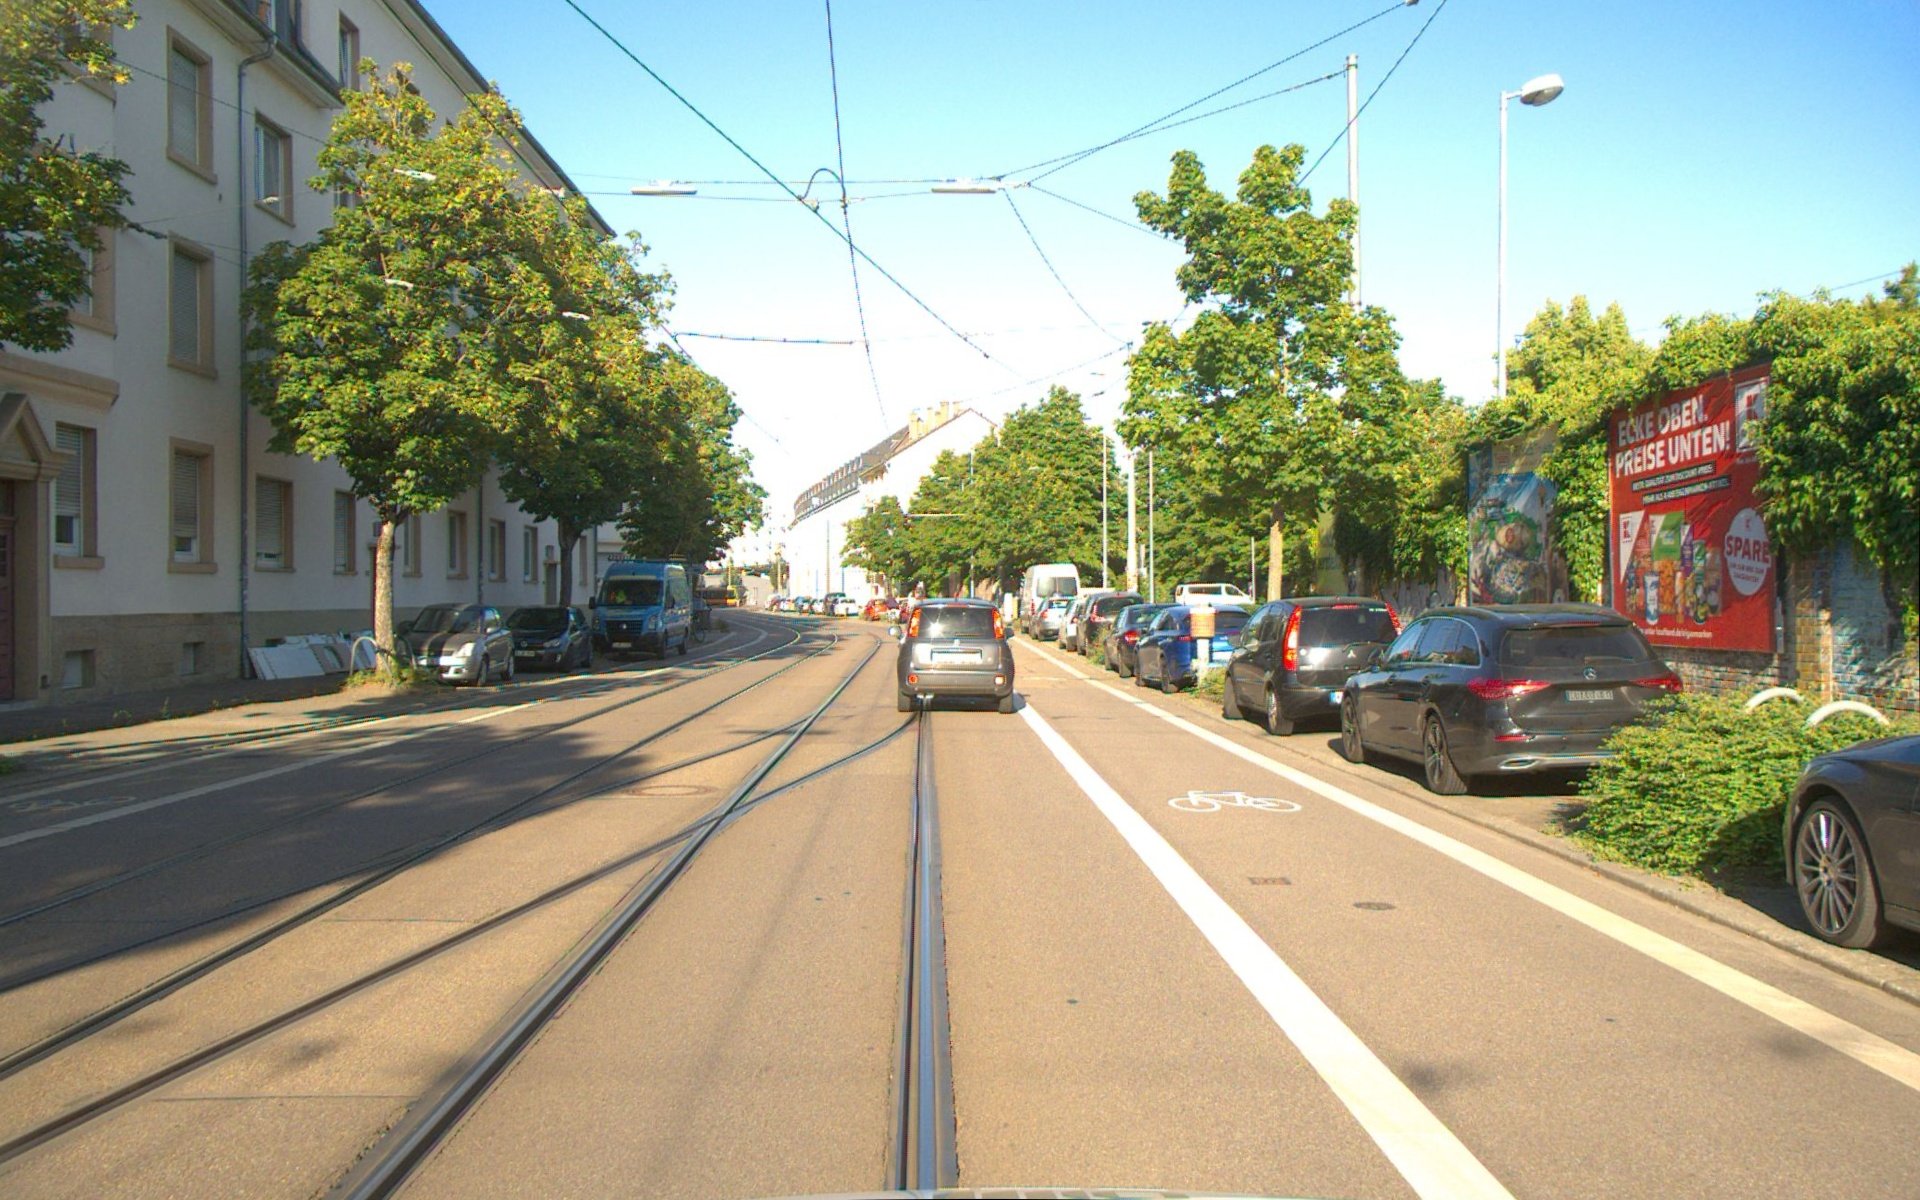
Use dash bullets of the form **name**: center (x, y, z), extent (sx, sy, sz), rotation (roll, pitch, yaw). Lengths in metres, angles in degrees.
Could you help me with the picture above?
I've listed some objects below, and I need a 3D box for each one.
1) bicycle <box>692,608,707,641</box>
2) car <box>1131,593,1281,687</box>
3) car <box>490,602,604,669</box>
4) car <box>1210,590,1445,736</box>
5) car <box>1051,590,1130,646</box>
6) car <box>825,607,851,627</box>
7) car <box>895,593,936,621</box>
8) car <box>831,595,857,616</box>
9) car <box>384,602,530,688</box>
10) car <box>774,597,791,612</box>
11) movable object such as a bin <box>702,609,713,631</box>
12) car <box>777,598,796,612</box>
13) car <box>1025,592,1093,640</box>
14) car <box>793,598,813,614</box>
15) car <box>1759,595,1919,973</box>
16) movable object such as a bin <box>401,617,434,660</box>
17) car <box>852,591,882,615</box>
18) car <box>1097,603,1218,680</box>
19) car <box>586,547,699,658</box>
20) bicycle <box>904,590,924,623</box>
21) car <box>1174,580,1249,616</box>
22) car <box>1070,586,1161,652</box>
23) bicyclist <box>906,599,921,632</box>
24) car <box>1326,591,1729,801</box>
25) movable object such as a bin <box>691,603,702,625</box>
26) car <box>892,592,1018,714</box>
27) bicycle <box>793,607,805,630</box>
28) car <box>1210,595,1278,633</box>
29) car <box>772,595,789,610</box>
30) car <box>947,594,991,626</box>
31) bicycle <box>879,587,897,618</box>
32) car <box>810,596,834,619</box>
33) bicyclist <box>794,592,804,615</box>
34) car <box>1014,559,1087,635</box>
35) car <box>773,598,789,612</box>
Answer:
- **bicycle**: center (-9.297, 0.873, 59.102), extent (0.502, 1.154, 2.027), rotation (1, 0, -8)
- **car**: center (4.182, 0.646, 28.792), extent (1.694, 1.489, 4.337), rotation (1, 0, -4)
- **car**: center (-9.442, 0.785, 38.123), extent (1.618, 1.450, 4.189), rotation (1, 0, -1)
- **car**: center (4.332, 0.692, 20.107), extent (1.788, 1.519, 3.812), rotation (-2, 0, -3)
- **car**: center (3.742, 0.496, 48.096), extent (1.694, 1.539, 4.248), rotation (1, 0, -4)
- **car**: center (-10.081, 1.400, 136.660), extent (1.626, 1.599, 3.865), rotation (1, 0, -12)
- **car**: center (-2.682, 0.424, 99.659), extent (1.660, 1.556, 3.986), rotation (-2, 0, -14)
- **car**: center (-9.299, 0.451, 132.334), extent (1.626, 1.599, 3.489), rotation (1, 0, -12)
- **car**: center (-9.582, 0.817, 31.800), extent (1.618, 1.517, 3.999), rotation (1, 0, -1)
- **car**: center (-19.346, 0.478, 180.007), extent (1.555, 1.627, 3.366), rotation (1, 0, -12)
- **movable object such as a bin**: center (-11.446, 0.896, 74.964), extent (0.476, 1.005, 0.658), rotation (1, 0, -9)
- **car**: center (-18.297, 0.547, 174.284), extent (1.555, 1.430, 3.366), rotation (1, 0, -12)
- **car**: center (3.377, 0.544, 57.192), extent (1.872, 1.556, 4.598), rotation (-1, 0, -2)
- **car**: center (-15.378, 0.619, 162.020), extent (1.555, 1.429, 3.366), rotation (-4, 1, -12)
- **car**: center (4.736, 0.742, 5.638), extent (1.787, 1.510, 4.601), rotation (1, 0, 0)
- **movable object such as a bin**: center (-12.145, 0.862, 37.034), extent (0.584, 0.951, 0.568), rotation (-1, 0, -4)
- **car**: center (-6.417, 0.207, 114.226), extent (1.606, 1.534, 3.388), rotation (-3, 0, -11)
- **car**: center (4.058, 0.821, 34.628), extent (1.694, 1.489, 4.494), rotation (1, 0, -4)
- **car**: center (-8.756, 0.082, 46.137), extent (1.976, 2.875, 6.031), rotation (1, 0, 0)
- **bicycle**: center (-2.470, 0.348, 89.060), extent (0.663, 1.777, 2.151), rotation (1, 0, -12)
- **car**: center (15.437, -0.097, 101.560), extent (4.199, 2.049, 1.771), rotation (-2, 0, -7)
- **car**: center (4.023, 0.480, 43.318), extent (1.694, 1.632, 4.339), rotation (1, 0, -4)
- **bicyclist**: center (-2.490, 0.845, 89.104), extent (0.687, 1.790, 0.755), rotation (1, 0, -12)
- **car**: center (4.565, 0.686, 14.120), extent (1.787, 1.477, 4.641), rotation (-1, 0, -1)
- **movable object such as a bin**: center (-11.920, 0.630, 74.943), extent (0.476, 1.005, 0.658), rotation (1, 0, -9)
- **car**: center (-0.112, 0.697, 23.761), extent (1.616, 1.568, 4.233), rotation (1, 0, -1)
- **bicycle**: center (-14.336, 1.617, 147.064), extent (0.728, 2.049, 2.803), rotation (1, 0, -12)
- **car**: center (8.066, 0.387, 47.161), extent (1.283, 1.051, 3.055), rotation (1, 0, -2)
- **car**: center (-20.203, 0.285, 185.948), extent (1.555, 1.627, 3.366), rotation (1, 0, -12)
- **car**: center (0.421, 0.490, 83.151), extent (1.657, 1.556, 3.993), rotation (-2, 0, -8)
- **bicycle**: center (-4.301, 0.142, 98.758), extent (0.663, 1.777, 2.151), rotation (1, 0, -12)
- **car**: center (-12.309, 0.664, 147.539), extent (1.626, 1.978, 4.651), rotation (1, 0, -12)
- **bicyclist**: center (-14.318, 0.329, 147.033), extent (0.702, 2.049, 0.829), rotation (1, 0, -12)
- **car**: center (3.443, -0.093, 64.044), extent (2.137, 2.712, 6.087), rotation (-3, 0, -3)
- **car**: center (-20.853, 0.571, 192.611), extent (1.555, 1.627, 3.366), rotation (1, 0, -12)
